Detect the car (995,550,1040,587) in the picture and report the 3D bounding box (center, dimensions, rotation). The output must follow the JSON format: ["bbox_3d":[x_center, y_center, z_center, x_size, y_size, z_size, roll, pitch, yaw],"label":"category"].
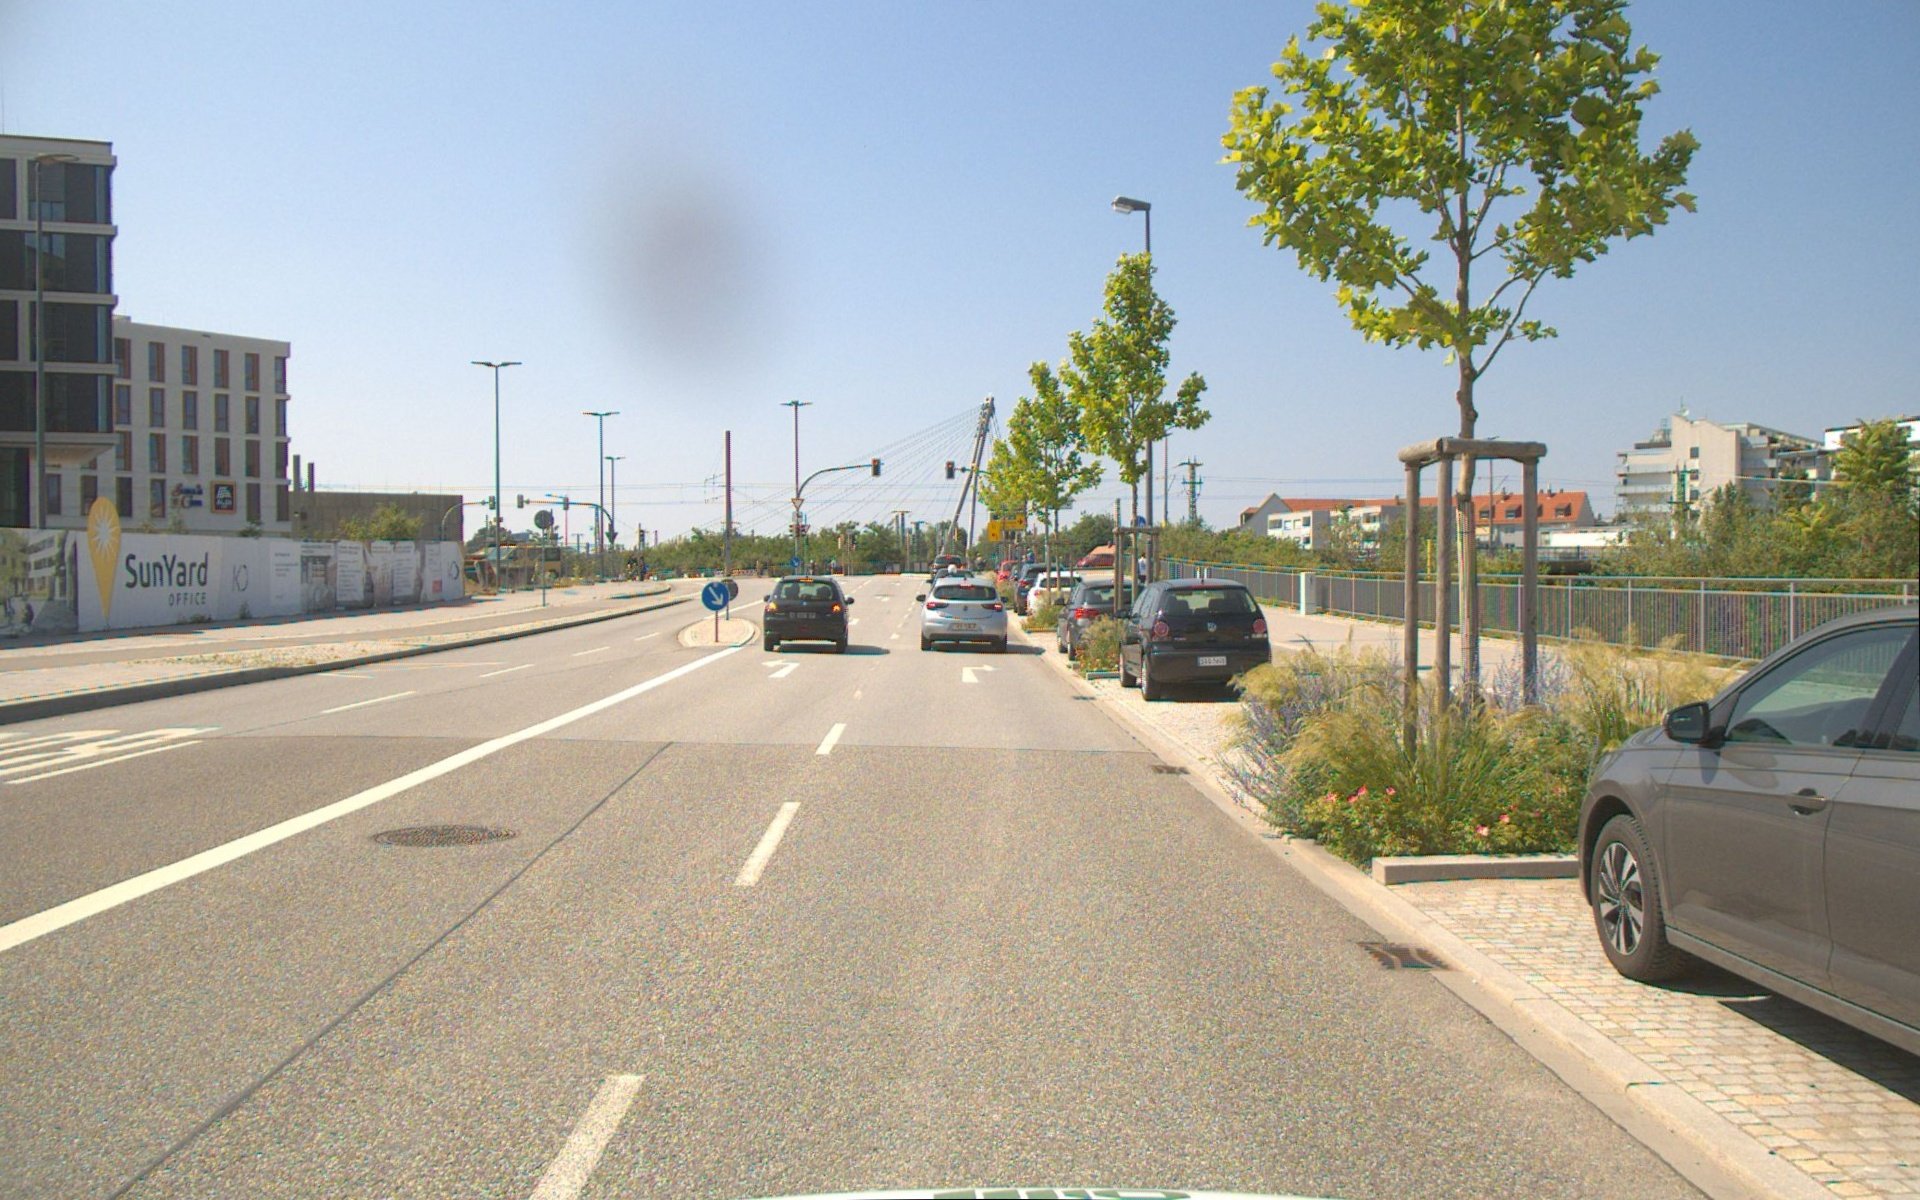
[{"bbox_3d":[2.478,-1.379,71.688,1.742,1.529,4.000,-1,1,-1],"label":"car"}]

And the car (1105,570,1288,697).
[{"bbox_3d":[3.056,0.411,22.090,1.670,1.488,3.952,-2,0,-3],"label":"car"}]

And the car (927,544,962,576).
[{"bbox_3d":[-0.799,-2.045,84.504,1.742,1.596,4.000,0,2,-1],"label":"car"}]

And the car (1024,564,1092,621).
[{"bbox_3d":[2.743,-0.261,46.979,1.662,1.501,4.206,-1,1,0],"label":"car"}]

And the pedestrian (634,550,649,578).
[{"bbox_3d":[-19.119,-2.159,99.356,0.828,1.675,0.827,0,1,-6],"label":"pedestrian"}]

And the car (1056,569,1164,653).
[{"bbox_3d":[2.780,0.184,31.462,1.669,1.426,4.270,-2,0,0],"label":"car"}]

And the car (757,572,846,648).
[{"bbox_3d":[-3.109,0.157,32.966,1.587,1.441,3.725,0,1,-3],"label":"car"}]

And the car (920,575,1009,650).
[{"bbox_3d":[0.075,0.211,34.564,1.742,1.467,4.000,0,1,0],"label":"car"}]

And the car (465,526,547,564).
[{"bbox_3d":[-25.043,-3.018,91.352,1.962,2.048,3.982,1,1,38],"label":"car"}]

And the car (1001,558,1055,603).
[{"bbox_3d":[2.572,-0.771,63.251,1.742,1.529,4.000,-4,1,0],"label":"car"}]

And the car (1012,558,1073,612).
[{"bbox_3d":[2.654,-0.517,53.636,1.785,1.644,3.612,-2,2,0],"label":"car"}]

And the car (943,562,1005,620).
[{"bbox_3d":[0.385,-0.308,48.822,1.742,1.596,4.000,0,2,-1],"label":"car"}]

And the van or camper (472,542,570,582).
[{"bbox_3d":[-23.130,-2.001,87.333,1.965,1.930,4.689,1,-1,42],"label":"van or camper"}]

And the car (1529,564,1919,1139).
[{"bbox_3d":[3.322,0.646,5.002,1.670,1.488,3.952,-2,1,-3],"label":"car"}]

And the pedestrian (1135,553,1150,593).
[{"bbox_3d":[7.416,-1.085,67.294,0.522,1.603,0.524,1,-1,-1],"label":"pedestrian"}]
